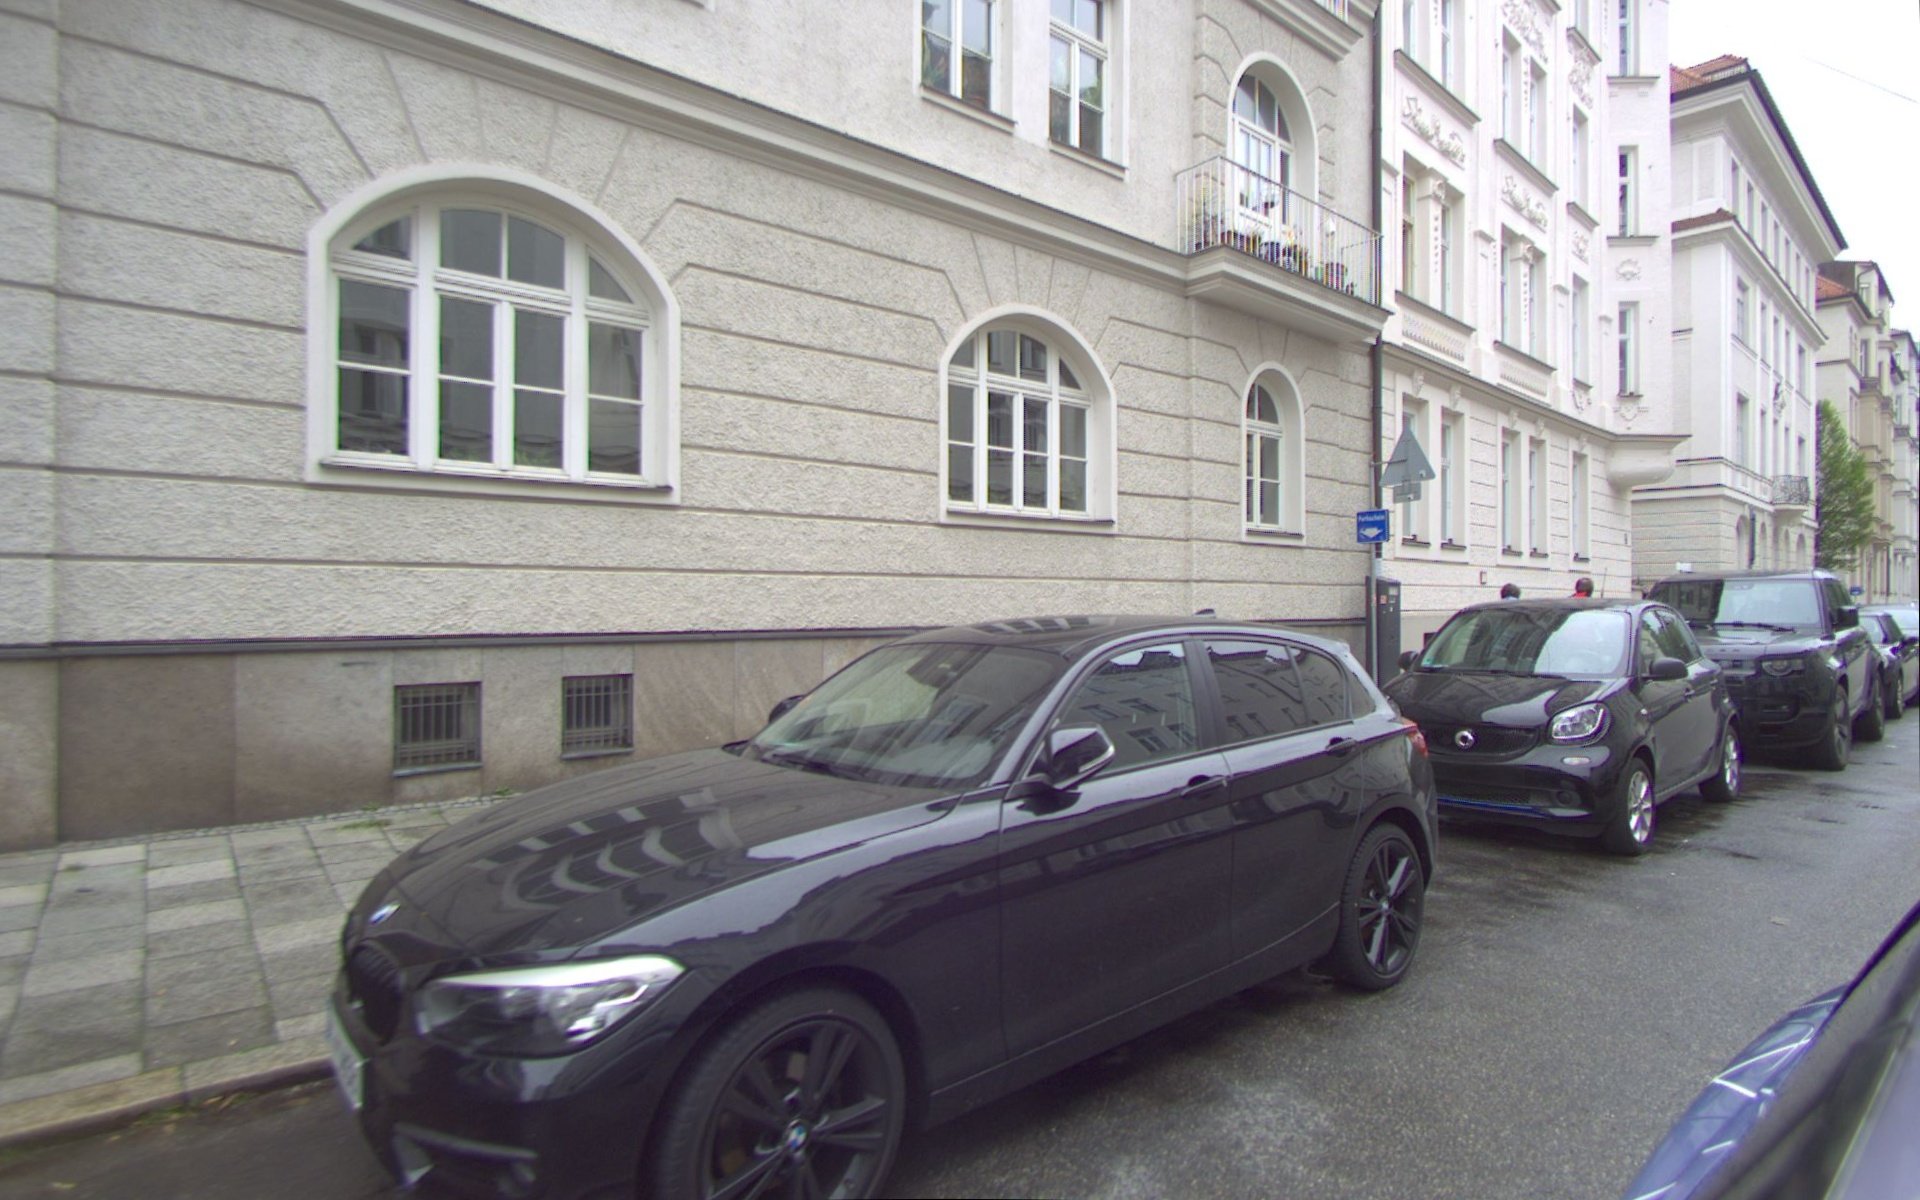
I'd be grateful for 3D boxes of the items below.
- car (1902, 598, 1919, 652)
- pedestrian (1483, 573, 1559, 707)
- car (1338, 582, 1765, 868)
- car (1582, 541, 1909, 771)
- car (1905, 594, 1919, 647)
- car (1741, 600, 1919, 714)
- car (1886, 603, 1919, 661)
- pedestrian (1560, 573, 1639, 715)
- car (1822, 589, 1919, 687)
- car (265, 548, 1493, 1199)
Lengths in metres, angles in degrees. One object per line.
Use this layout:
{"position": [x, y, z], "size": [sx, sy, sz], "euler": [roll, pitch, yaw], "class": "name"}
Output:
{"position": [28.948, 0.693, 29.760], "size": [1.708, 1.520, 3.935], "euler": [-1, -1, 45], "class": "car"}
{"position": [7.399, 0.506, 13.355], "size": [0.643, 1.695, 0.680], "euler": [1, 2, -44], "class": "pedestrian"}
{"position": [4.396, 0.692, 7.318], "size": [3.574, 1.545, 1.657], "euler": [0, -1, -42], "class": "car"}
{"position": [8.414, 0.493, 10.669], "size": [4.634, 1.910, 1.912], "euler": [0, -2, -43], "class": "car"}
{"position": [32.040, 0.668, 32.633], "size": [4.314, 1.657, 1.898], "euler": [1, -1, -42], "class": "car"}
{"position": [12.621, 0.728, 14.390], "size": [3.519, 1.413, 1.666], "euler": [0, -2, -40], "class": "car"}
{"position": [25.067, 0.788, 25.979], "size": [3.933, 1.413, 1.613], "euler": [0, -2, -43], "class": "car"}
{"position": [8.209, 0.534, 12.998], "size": [0.692, 1.750, 0.703], "euler": [1, 0, -44], "class": "pedestrian"}
{"position": [16.951, 0.649, 18.271], "size": [3.934, 1.608, 1.708], "euler": [0, -2, -44], "class": "car"}
{"position": [0.094, 0.664, 3.601], "size": [4.125, 1.489, 1.710], "euler": [0, 0, -39], "class": "car"}
